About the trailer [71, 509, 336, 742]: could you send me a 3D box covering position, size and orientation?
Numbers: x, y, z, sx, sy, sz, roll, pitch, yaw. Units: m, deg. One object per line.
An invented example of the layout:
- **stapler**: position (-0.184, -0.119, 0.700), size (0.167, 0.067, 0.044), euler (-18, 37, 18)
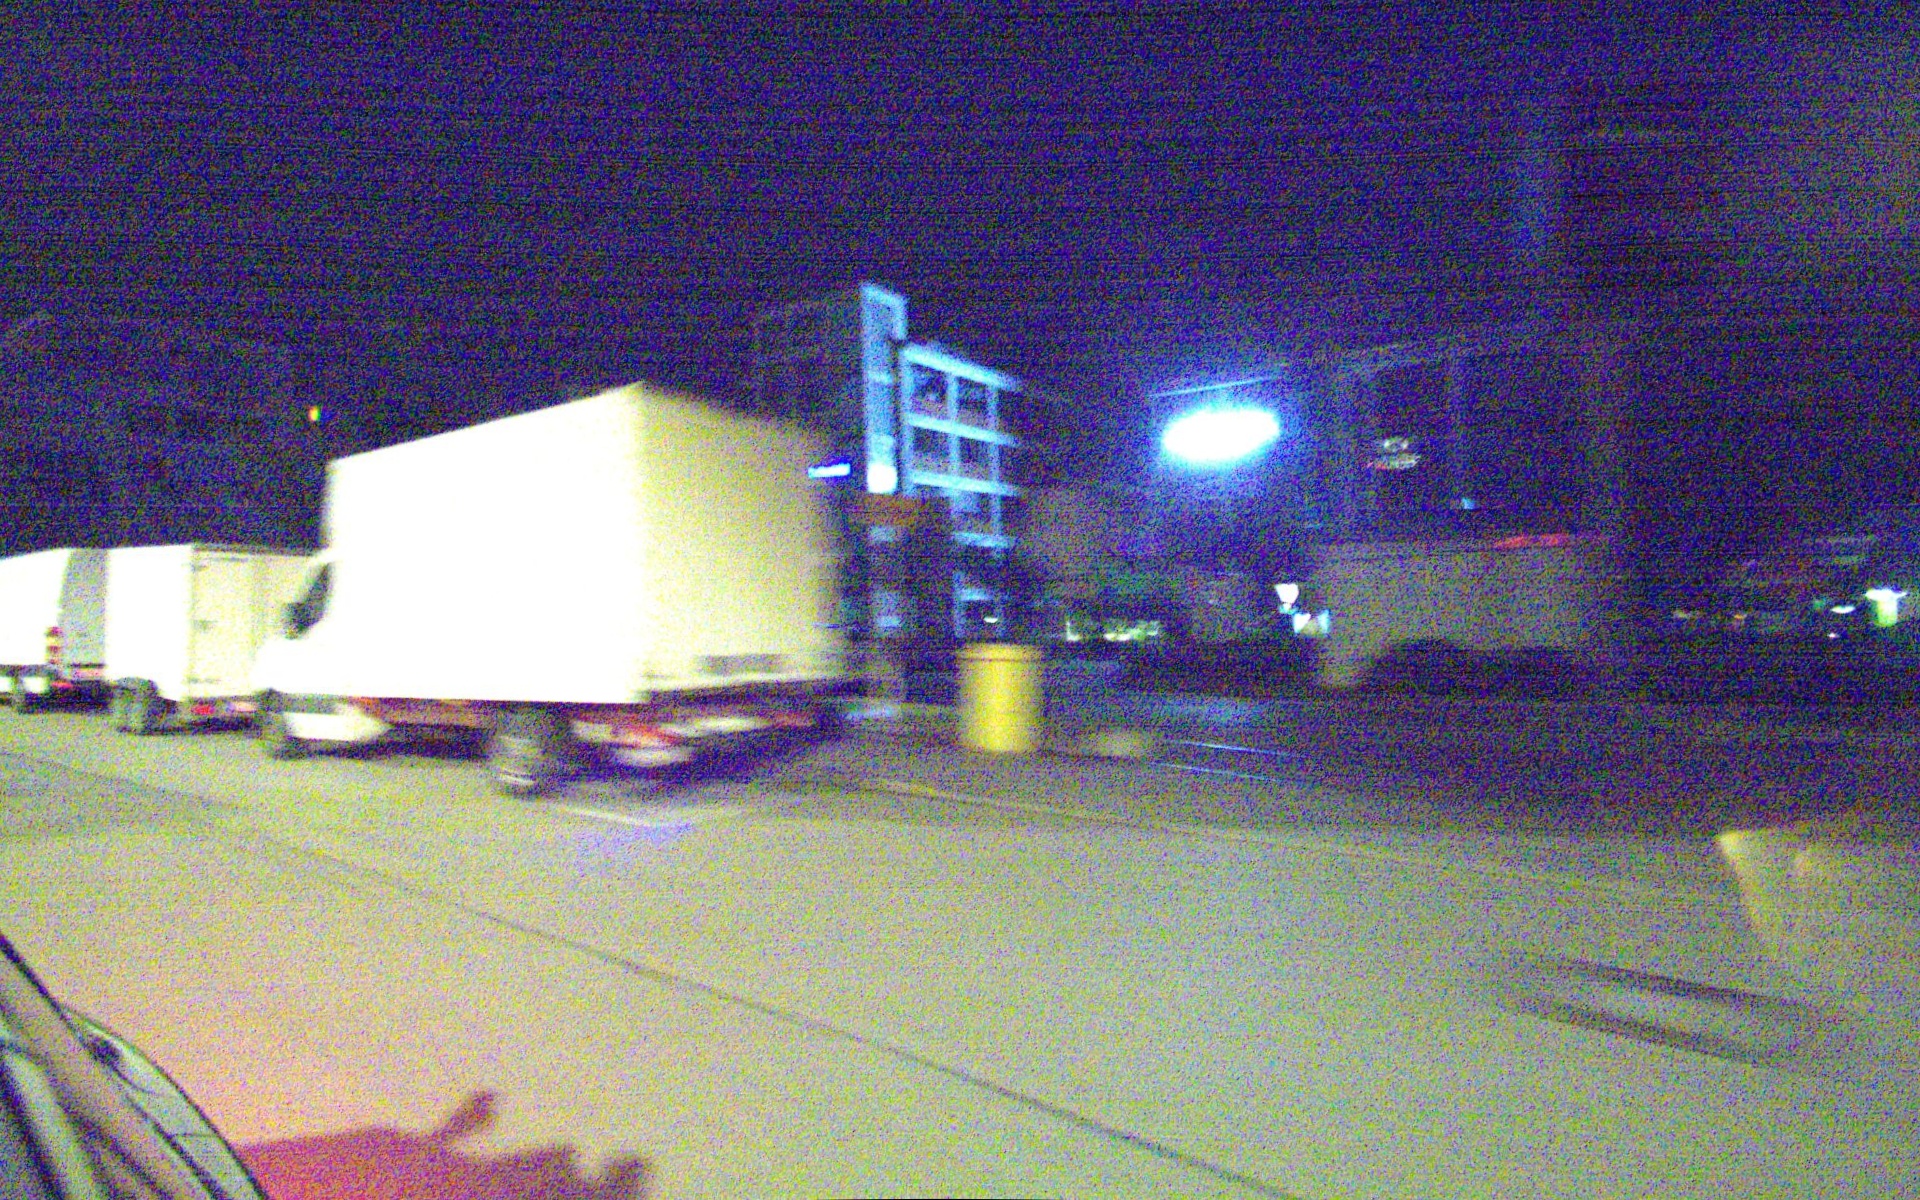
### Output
- **trailer**: position (-10.630, 0.365, 14.146), size (3.995, 2.786, 1.977), euler (-2, -2, 38)

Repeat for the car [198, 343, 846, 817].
- **car**: position (-4.660, -0.084, 9.990), size (7.212, 3.268, 2.362), euler (-1, 0, 34)

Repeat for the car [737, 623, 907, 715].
- **car**: position (-2.930, 1.318, 20.745), size (1.832, 1.652, 4.010), euler (0, -1, -35)

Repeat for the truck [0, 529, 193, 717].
- **truck**: position (-16.267, 0.421, 17.986), size (7.224, 2.805, 1.977), euler (-1, -1, 34)

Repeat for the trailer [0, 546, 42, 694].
- **trailer**: position (-23.598, 0.503, 23.080), size (7.939, 3.096, 2.460), euler (-2, -1, 37)
